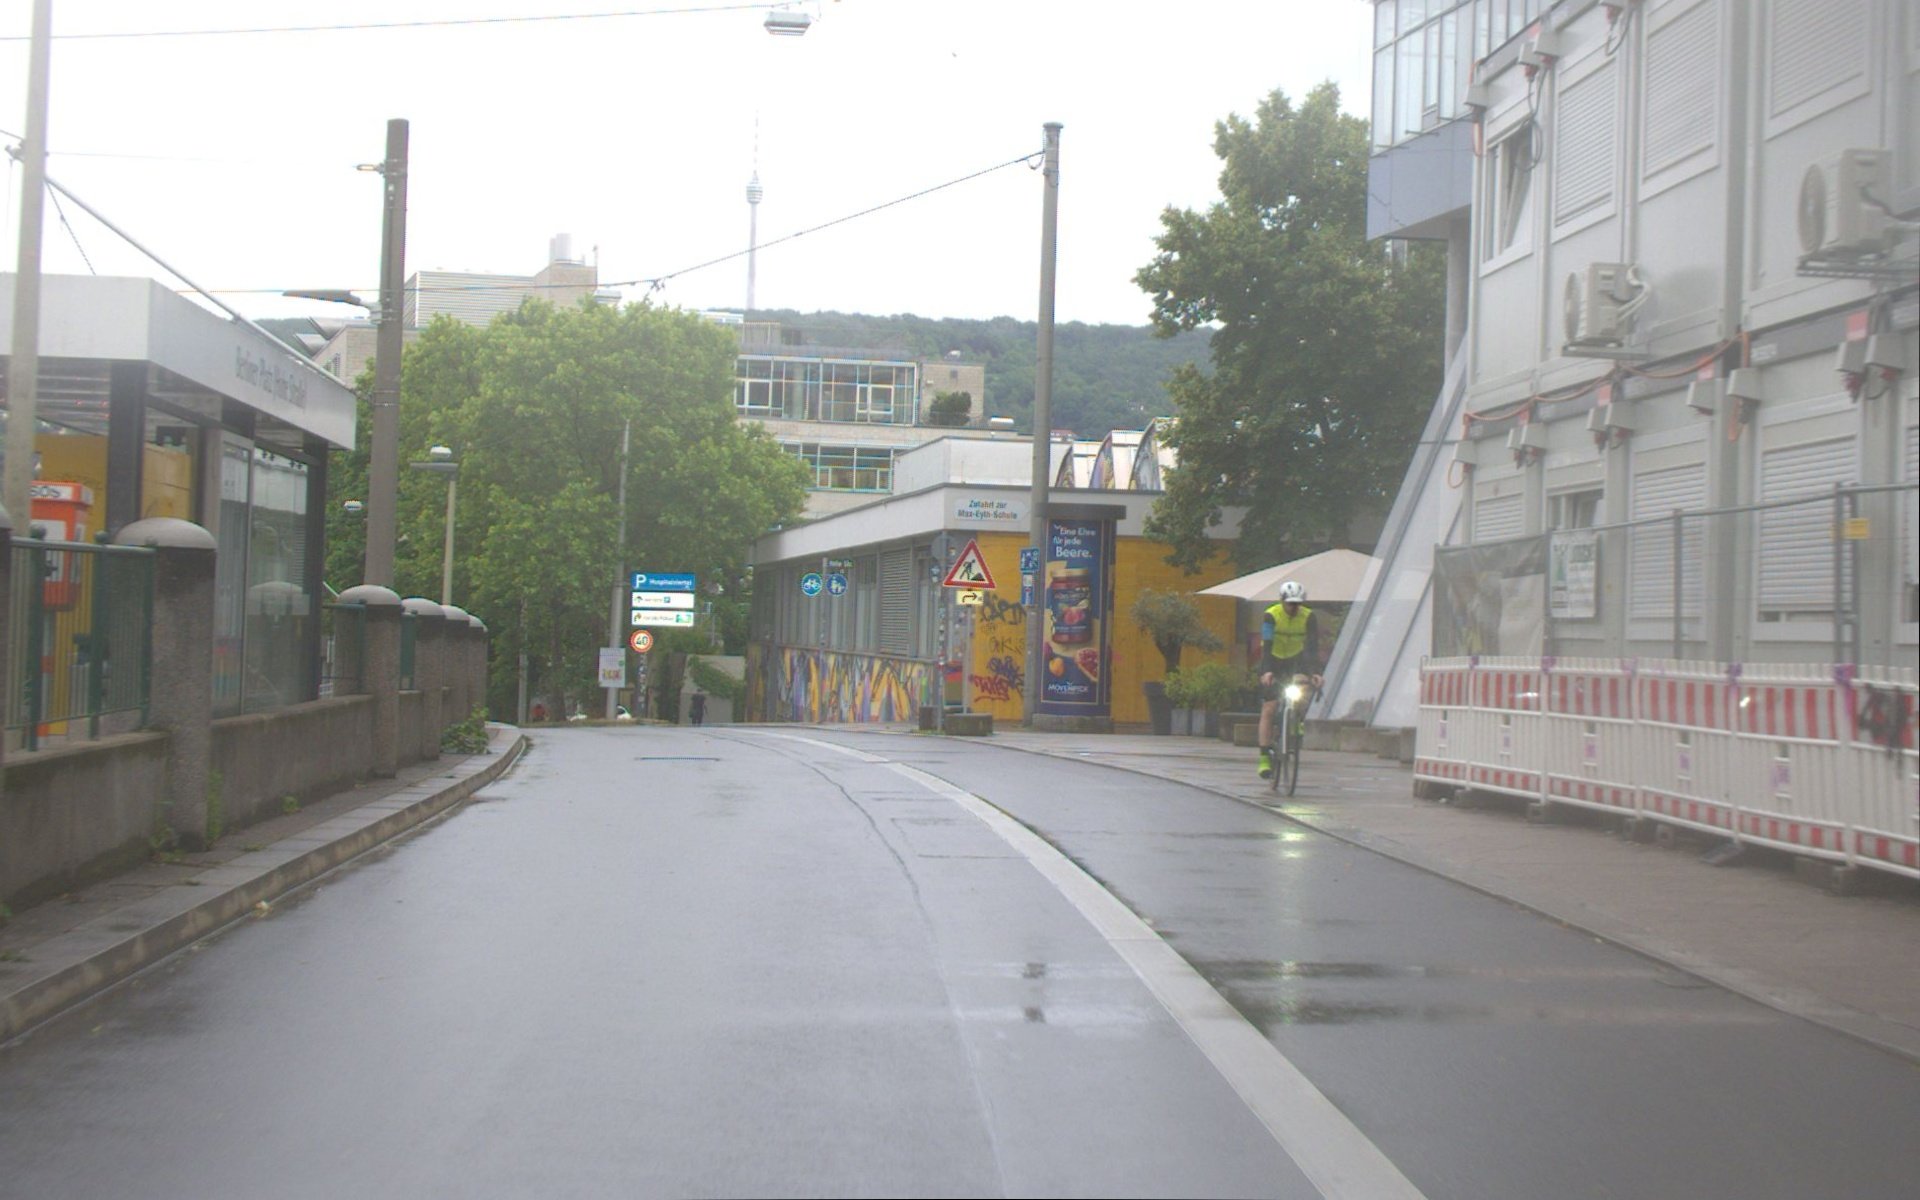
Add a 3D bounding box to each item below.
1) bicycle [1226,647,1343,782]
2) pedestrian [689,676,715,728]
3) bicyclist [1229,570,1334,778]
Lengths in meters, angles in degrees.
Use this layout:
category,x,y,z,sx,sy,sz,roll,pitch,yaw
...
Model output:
category,x,y,z,sx,sy,sz,roll,pitch,yaw
bicycle,2.619,0.922,27.941,0.661,1.049,2.057,1,-1,-3
pedestrian,-9.335,3.695,124.323,0.806,1.858,1.056,0,-2,-10
bicyclist,2.599,0.595,27.883,0.661,1.633,0.793,-3,-1,-3
